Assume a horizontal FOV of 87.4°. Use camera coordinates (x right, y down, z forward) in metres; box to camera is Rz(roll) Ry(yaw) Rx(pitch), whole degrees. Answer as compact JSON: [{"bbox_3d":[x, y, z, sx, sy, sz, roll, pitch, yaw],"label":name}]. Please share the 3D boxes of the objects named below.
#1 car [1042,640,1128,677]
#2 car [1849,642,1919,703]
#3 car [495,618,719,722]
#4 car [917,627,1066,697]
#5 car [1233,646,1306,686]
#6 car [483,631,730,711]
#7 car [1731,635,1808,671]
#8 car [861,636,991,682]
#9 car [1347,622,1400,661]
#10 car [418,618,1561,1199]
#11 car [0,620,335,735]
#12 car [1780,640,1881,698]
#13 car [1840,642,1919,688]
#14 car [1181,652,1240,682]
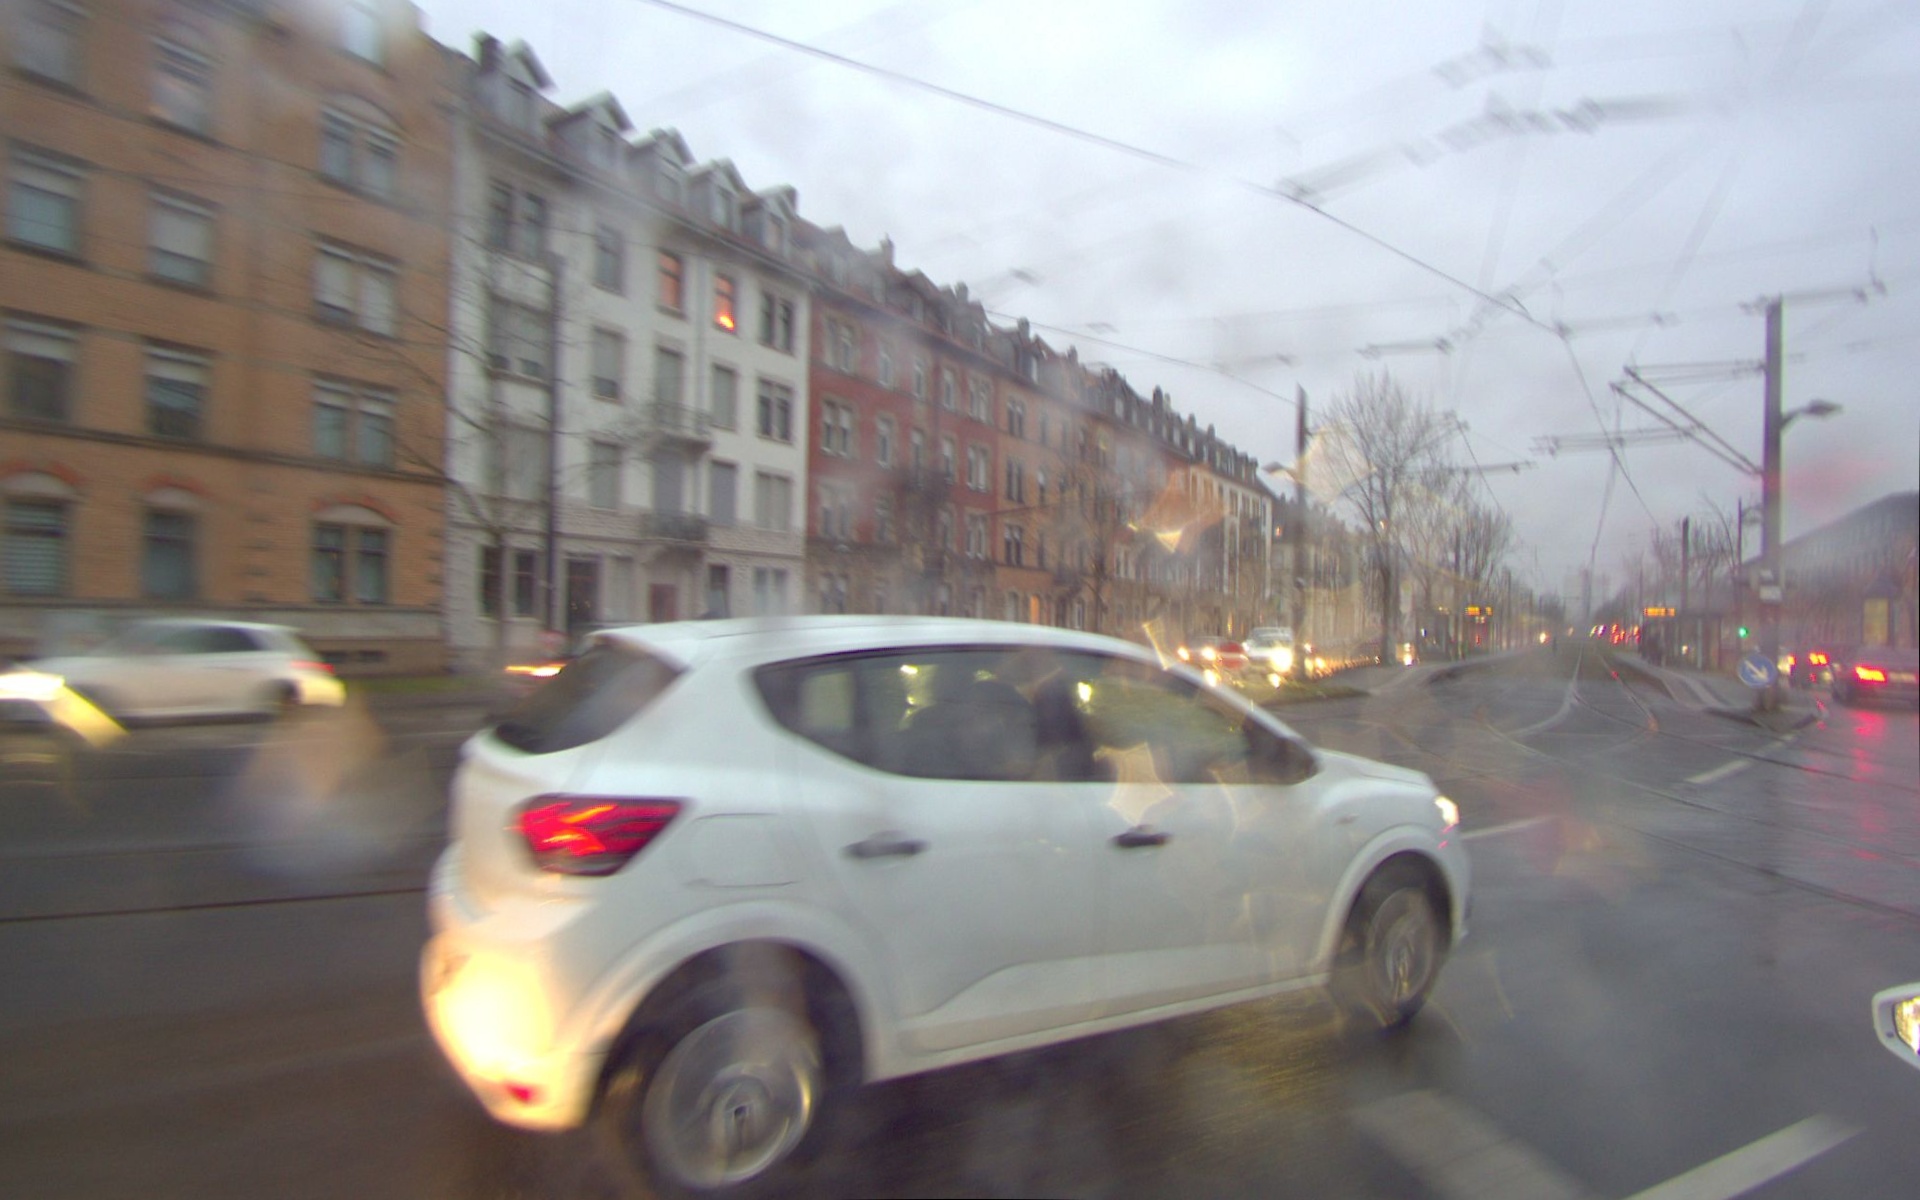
[{"bbox_3d":[4.612,2.098,36.585,1.515,1.243,4.077,0,-2,32],"label":"car"},{"bbox_3d":[23.867,1.778,25.238,1.968,1.416,3.985,-1,-2,37],"label":"car"},{"bbox_3d":[-5.670,1.085,16.381,1.469,1.506,3.139,0,-2,39],"label":"car"},{"bbox_3d":[0.863,1.491,24.968,1.658,1.573,4.107,0,-2,36],"label":"car"},{"bbox_3d":[10.908,2.273,35.237,1.514,1.262,4.078,0,-2,31],"label":"car"},{"bbox_3d":[-6.790,1.328,19.732,1.659,1.372,4.370,0,-2,38],"label":"car"},{"bbox_3d":[38.888,2.526,48.375,1.962,1.639,3.997,0,-2,25],"label":"car"},{"bbox_3d":[-0.875,1.605,27.742,1.579,1.149,3.775,0,-2,37],"label":"car"},{"bbox_3d":[26.305,2.612,63.809,1.968,2.340,5.248,-1,-2,36],"label":"car"},{"bbox_3d":[0.253,0.839,3.746,3.949,1.506,1.620,1,-1,-28],"label":"car"},{"bbox_3d":[-11.268,1.034,14.388,1.661,1.410,3.596,0,-2,41],"label":"car"},{"bbox_3d":[29.472,2.288,34.129,1.965,1.788,3.991,0,-2,32],"label":"car"},{"bbox_3d":[36.030,2.489,39.107,1.965,1.639,3.991,0,-2,31],"label":"car"},{"bbox_3d":[11.857,3.119,47.413,1.515,1.243,4.077,0,-2,32],"label":"car"}]
